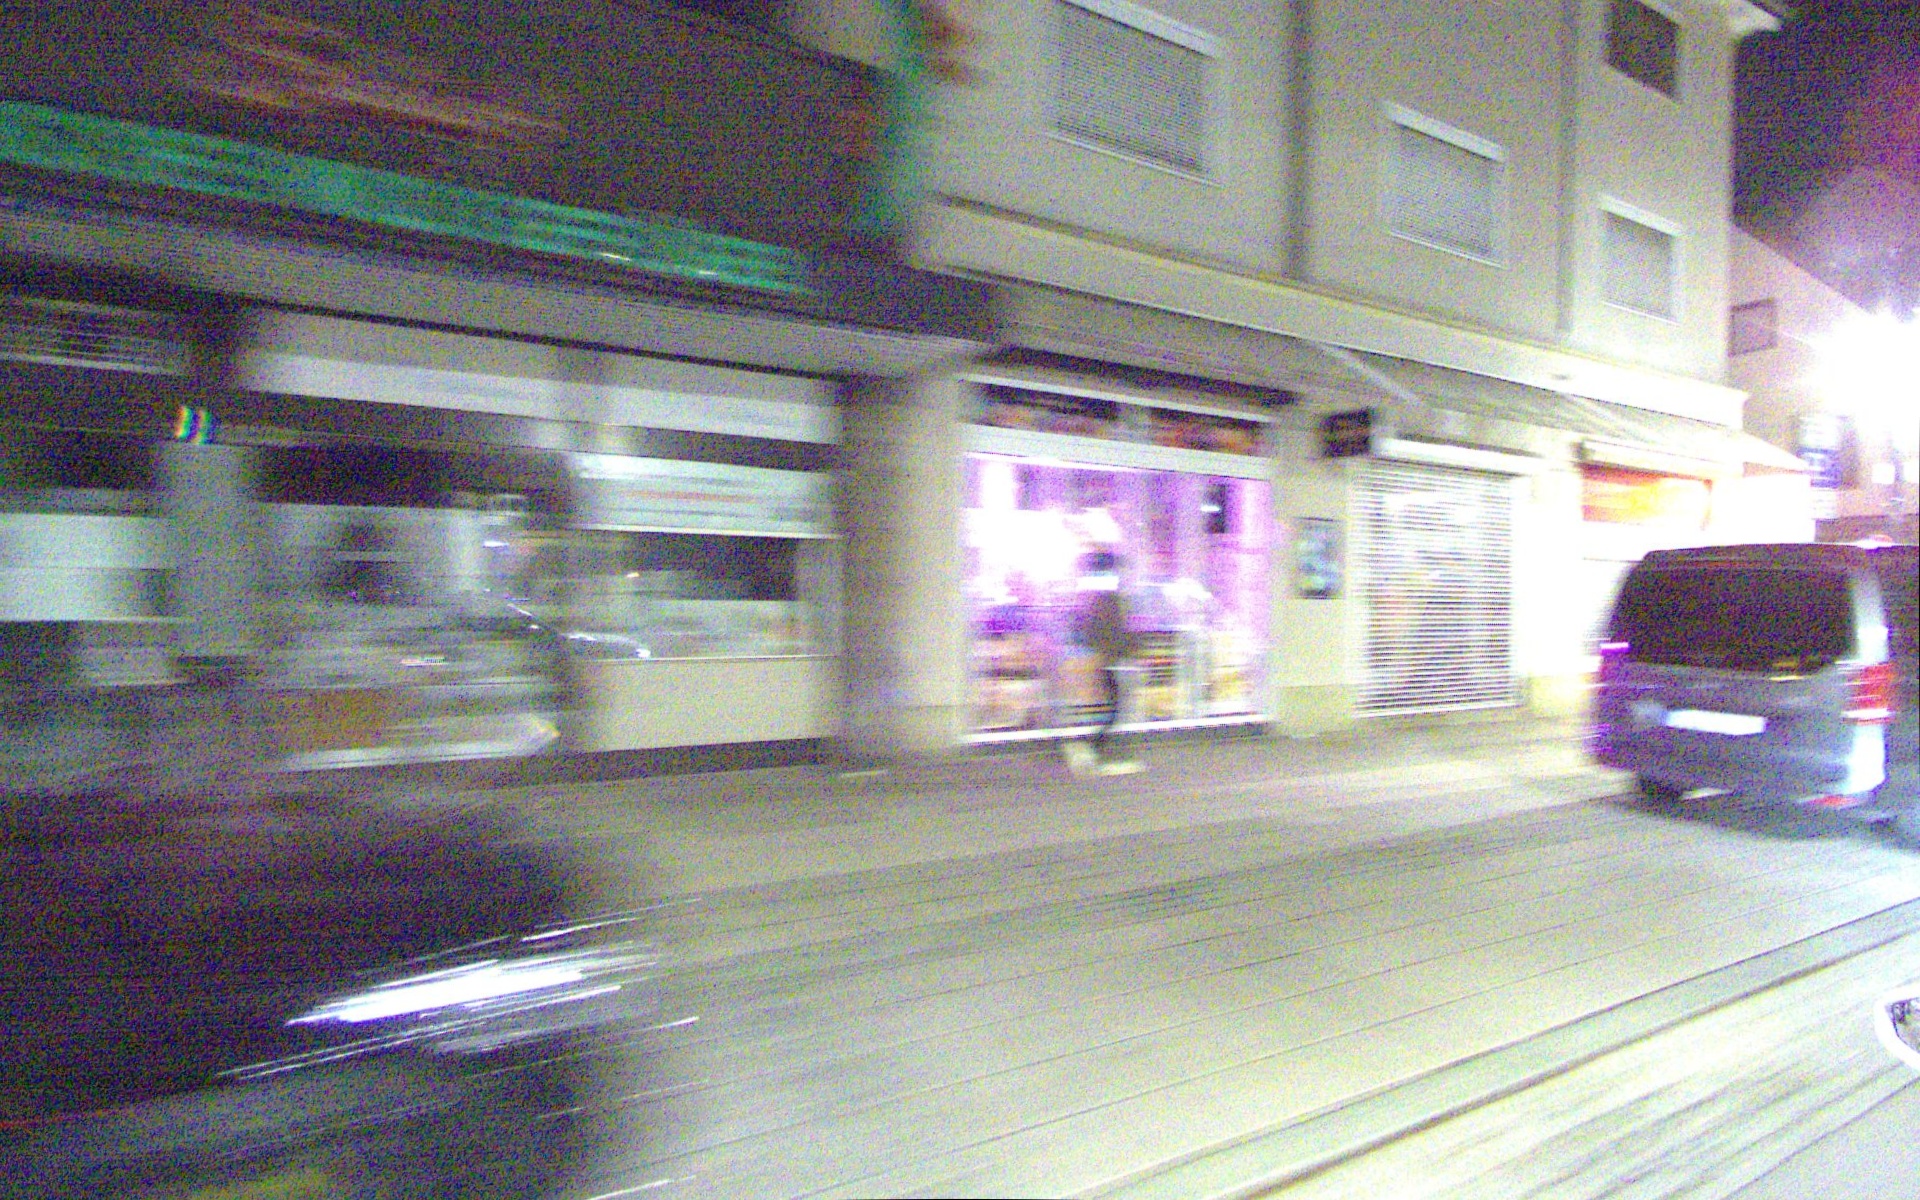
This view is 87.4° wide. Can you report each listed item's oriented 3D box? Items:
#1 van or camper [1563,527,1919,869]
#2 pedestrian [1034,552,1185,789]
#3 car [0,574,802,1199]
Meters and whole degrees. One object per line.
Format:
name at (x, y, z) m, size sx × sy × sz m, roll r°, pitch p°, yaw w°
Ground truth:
van or camper at (7.175, 0.595, 7.708) m, size 5.084 × 1.968 × 1.840 m, roll 1°, pitch 0°, yaw -25°
pedestrian at (1.194, 0.533, 8.041) m, size 1.011 × 1.768 × 0.618 m, roll 1°, pitch 0°, yaw -30°
car at (-2.613, 0.659, 1.646) m, size 4.333 × 1.432 × 1.708 m, roll 1°, pitch 1°, yaw -30°
